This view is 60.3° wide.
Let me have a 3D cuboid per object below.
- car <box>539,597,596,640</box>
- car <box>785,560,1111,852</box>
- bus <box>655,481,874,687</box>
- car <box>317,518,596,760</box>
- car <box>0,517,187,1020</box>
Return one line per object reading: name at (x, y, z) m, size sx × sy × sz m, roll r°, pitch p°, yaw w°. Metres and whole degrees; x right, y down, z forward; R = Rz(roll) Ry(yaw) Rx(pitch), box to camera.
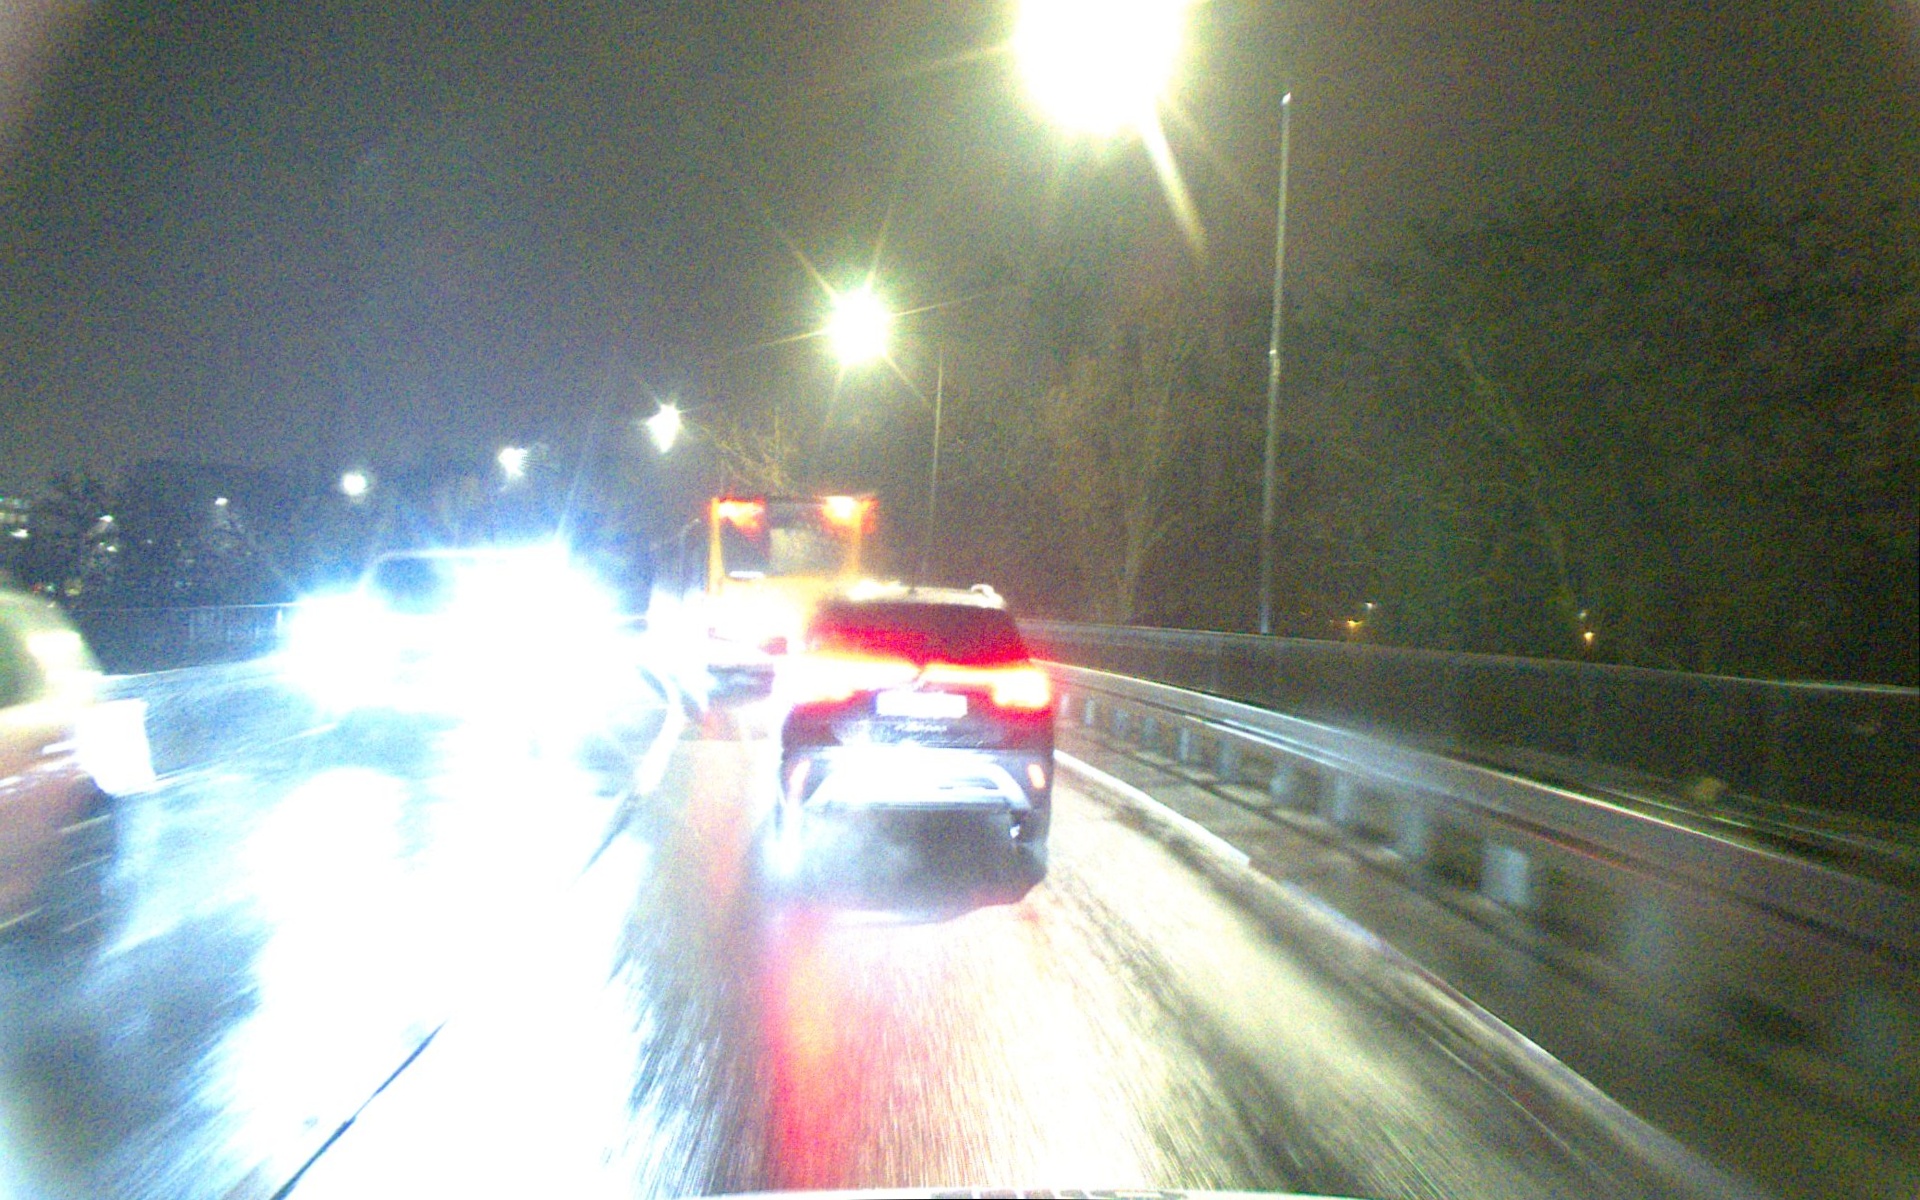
car at (-16.153, 0.783, 68.035) m, size 1.615 × 1.685 × 3.680 m, roll 0°, pitch -2°, yaw -25°
car at (-0.266, 0.599, 11.236) m, size 1.820 × 1.614 × 3.995 m, roll 1°, pitch 0°, yaw -6°
bus at (-4.192, -0.276, 32.182) m, size 3.030 × 3.187 × 12.657 m, roll 0°, pitch 0°, yaw -12°
car at (-5.192, 0.361, 17.795) m, size 2.005 × 2.208 × 5.146 m, roll 0°, pitch 0°, yaw -7°
car at (-4.001, 0.557, 4.905) m, size 1.757 × 1.659 × 3.990 m, roll 1°, pitch 1°, yaw -4°
